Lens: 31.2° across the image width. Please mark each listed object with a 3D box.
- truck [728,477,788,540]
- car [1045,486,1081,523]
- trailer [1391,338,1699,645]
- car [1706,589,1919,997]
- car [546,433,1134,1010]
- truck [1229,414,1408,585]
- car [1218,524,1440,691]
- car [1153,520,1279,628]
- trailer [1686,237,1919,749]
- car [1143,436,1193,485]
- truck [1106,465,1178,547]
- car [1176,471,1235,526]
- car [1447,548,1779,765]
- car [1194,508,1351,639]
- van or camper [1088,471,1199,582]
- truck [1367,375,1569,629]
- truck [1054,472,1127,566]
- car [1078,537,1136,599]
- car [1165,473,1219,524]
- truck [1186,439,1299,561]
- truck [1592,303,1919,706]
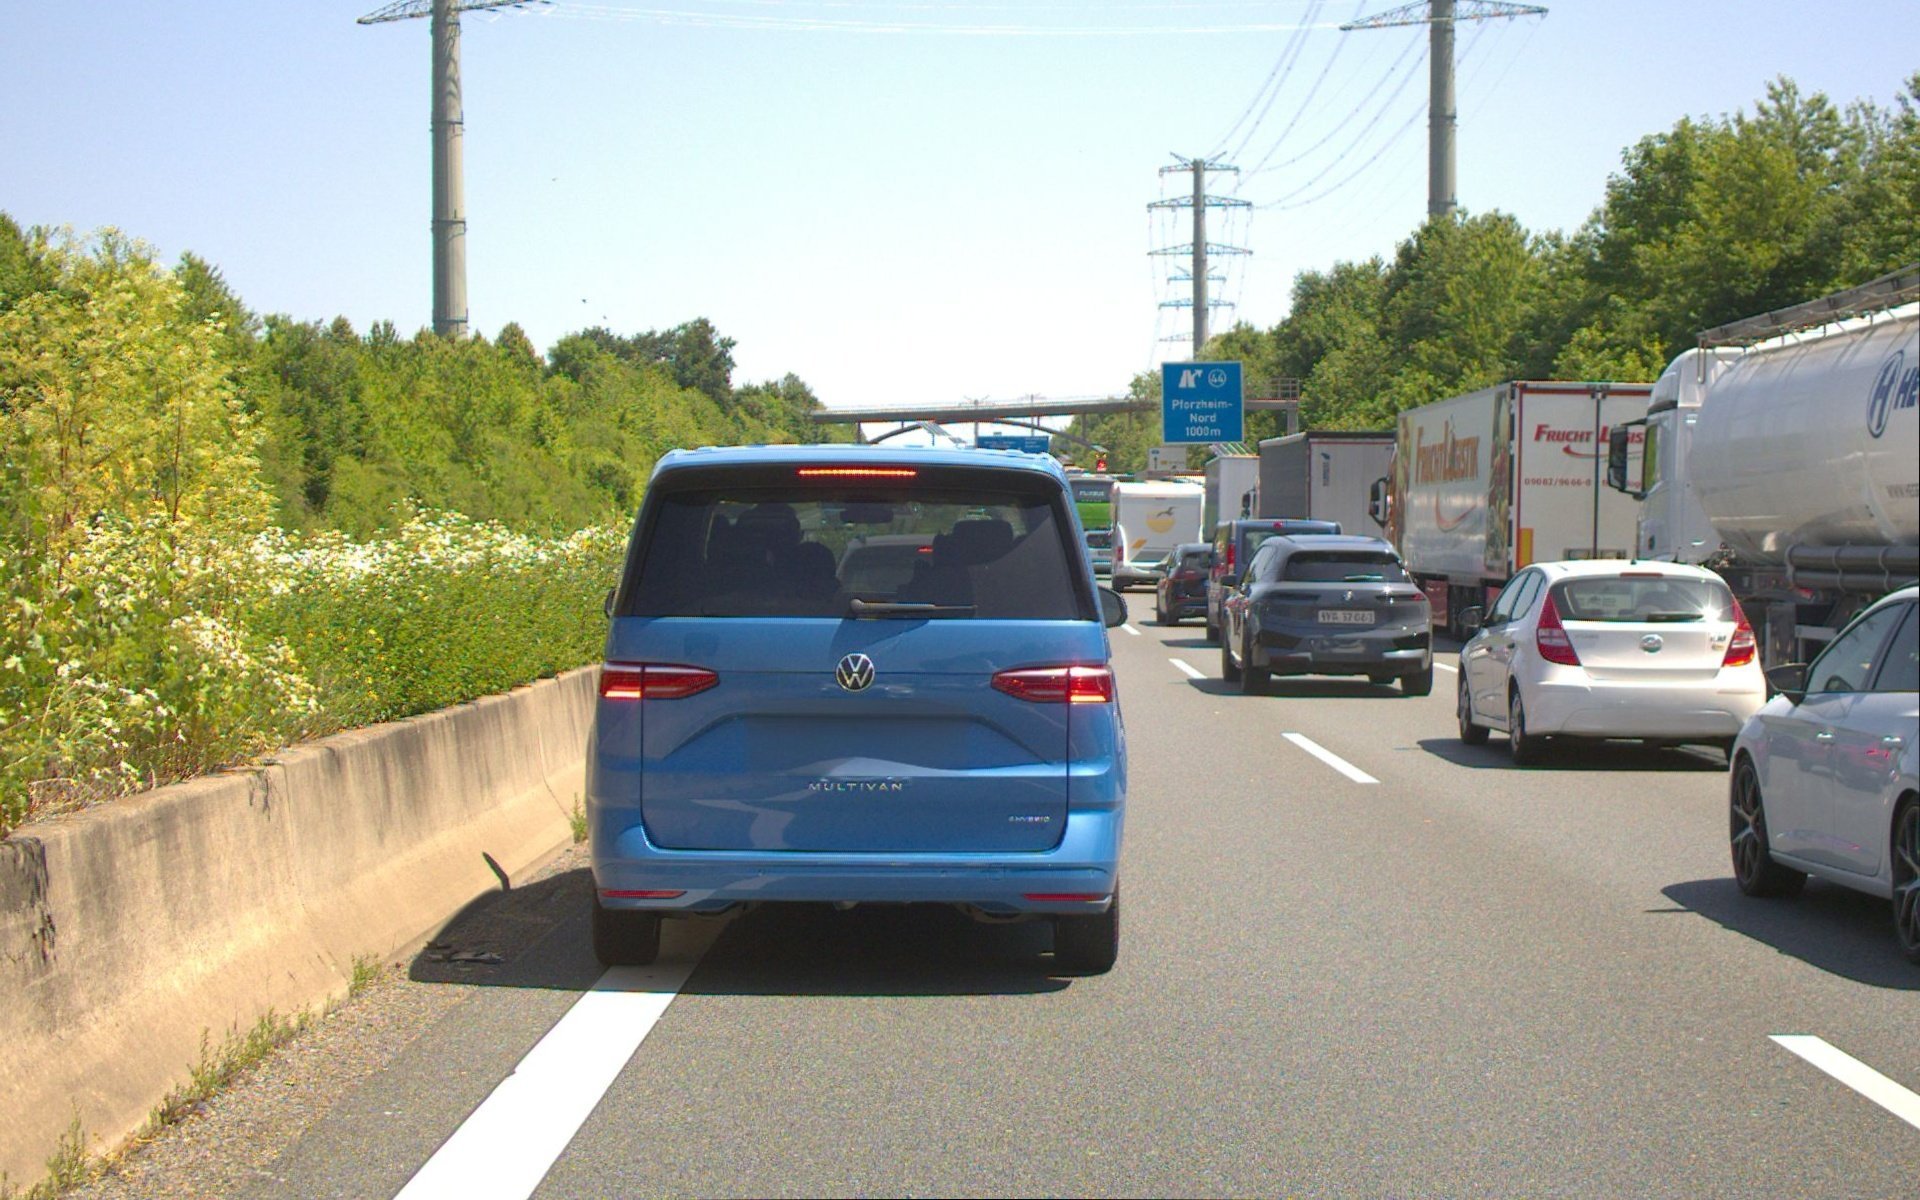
[{"bbox_3d":[-12.523,-5.635,214.178,2.911,3.806,11.944,1,1,0],"label":"truck"},{"bbox_3d":[6.178,-5.752,206.908,1.993,2.118,4.000,0,0,0],"label":"car"},{"bbox_3d":[9.313,-1.655,56.346,2.912,4.453,12.154,-1,1,0],"label":"trailer"},{"bbox_3d":[4.277,0.670,13.643,1.747,1.438,4.313,-1,0,1],"label":"car"},{"bbox_3d":[-0.383,0.365,13.363,1.920,1.880,4.000,1,1,0],"label":"car"},{"bbox_3d":[8.515,-2.266,83.646,3.006,3.753,15.712,0,0,1],"label":"truck"},{"bbox_3d":[3.981,0.076,37.805,1.999,1.709,4.625,-1,0,1],"label":"car"},{"bbox_3d":[4.795,-0.482,64.905,1.923,1.919,4.236,-2,0,-1],"label":"car"},{"bbox_3d":[8.568,-0.839,28.129,2.761,3.831,11.486,-1,1,0],"label":"trailer"},{"bbox_3d":[9.230,-6.177,152.621,1.993,2.007,4.000,0,0,1],"label":"car"},{"bbox_3d":[10.393,-5.346,197.195,3.566,4.502,10.293,0,0,0],"label":"truck"},{"bbox_3d":[9.423,-3.893,132.156,1.993,2.007,4.000,0,0,1],"label":"car"},{"bbox_3d":[4.797,0.392,25.771,1.817,1.480,4.000,-1,0,2],"label":"car"},{"bbox_3d":[4.823,-0.397,53.638,1.923,1.919,4.236,-2,0,-1],"label":"car"},{"bbox_3d":[5.118,-2.015,97.057,2.957,3.011,7.102,0,0,2],"label":"van or camper"},{"bbox_3d":[9.283,-1.764,63.319,2.912,4.453,5.143,-1,1,0],"label":"truck"},{"bbox_3d":[5.425,-3.332,144.478,2.895,3.754,10.140,0,0,1],"label":"truck"},{"bbox_3d":[4.850,-1.037,114.095,1.836,1.992,4.000,-1,0,2],"label":"car"},{"bbox_3d":[9.612,-4.202,142.467,1.993,2.007,4.000,0,0,1],"label":"car"},{"bbox_3d":[9.242,-3.202,113.879,2.895,3.753,13.344,0,0,1],"label":"truck"},{"bbox_3d":[8.473,-0.948,35.581,2.793,3.823,5.572,-1,1,0],"label":"truck"}]
